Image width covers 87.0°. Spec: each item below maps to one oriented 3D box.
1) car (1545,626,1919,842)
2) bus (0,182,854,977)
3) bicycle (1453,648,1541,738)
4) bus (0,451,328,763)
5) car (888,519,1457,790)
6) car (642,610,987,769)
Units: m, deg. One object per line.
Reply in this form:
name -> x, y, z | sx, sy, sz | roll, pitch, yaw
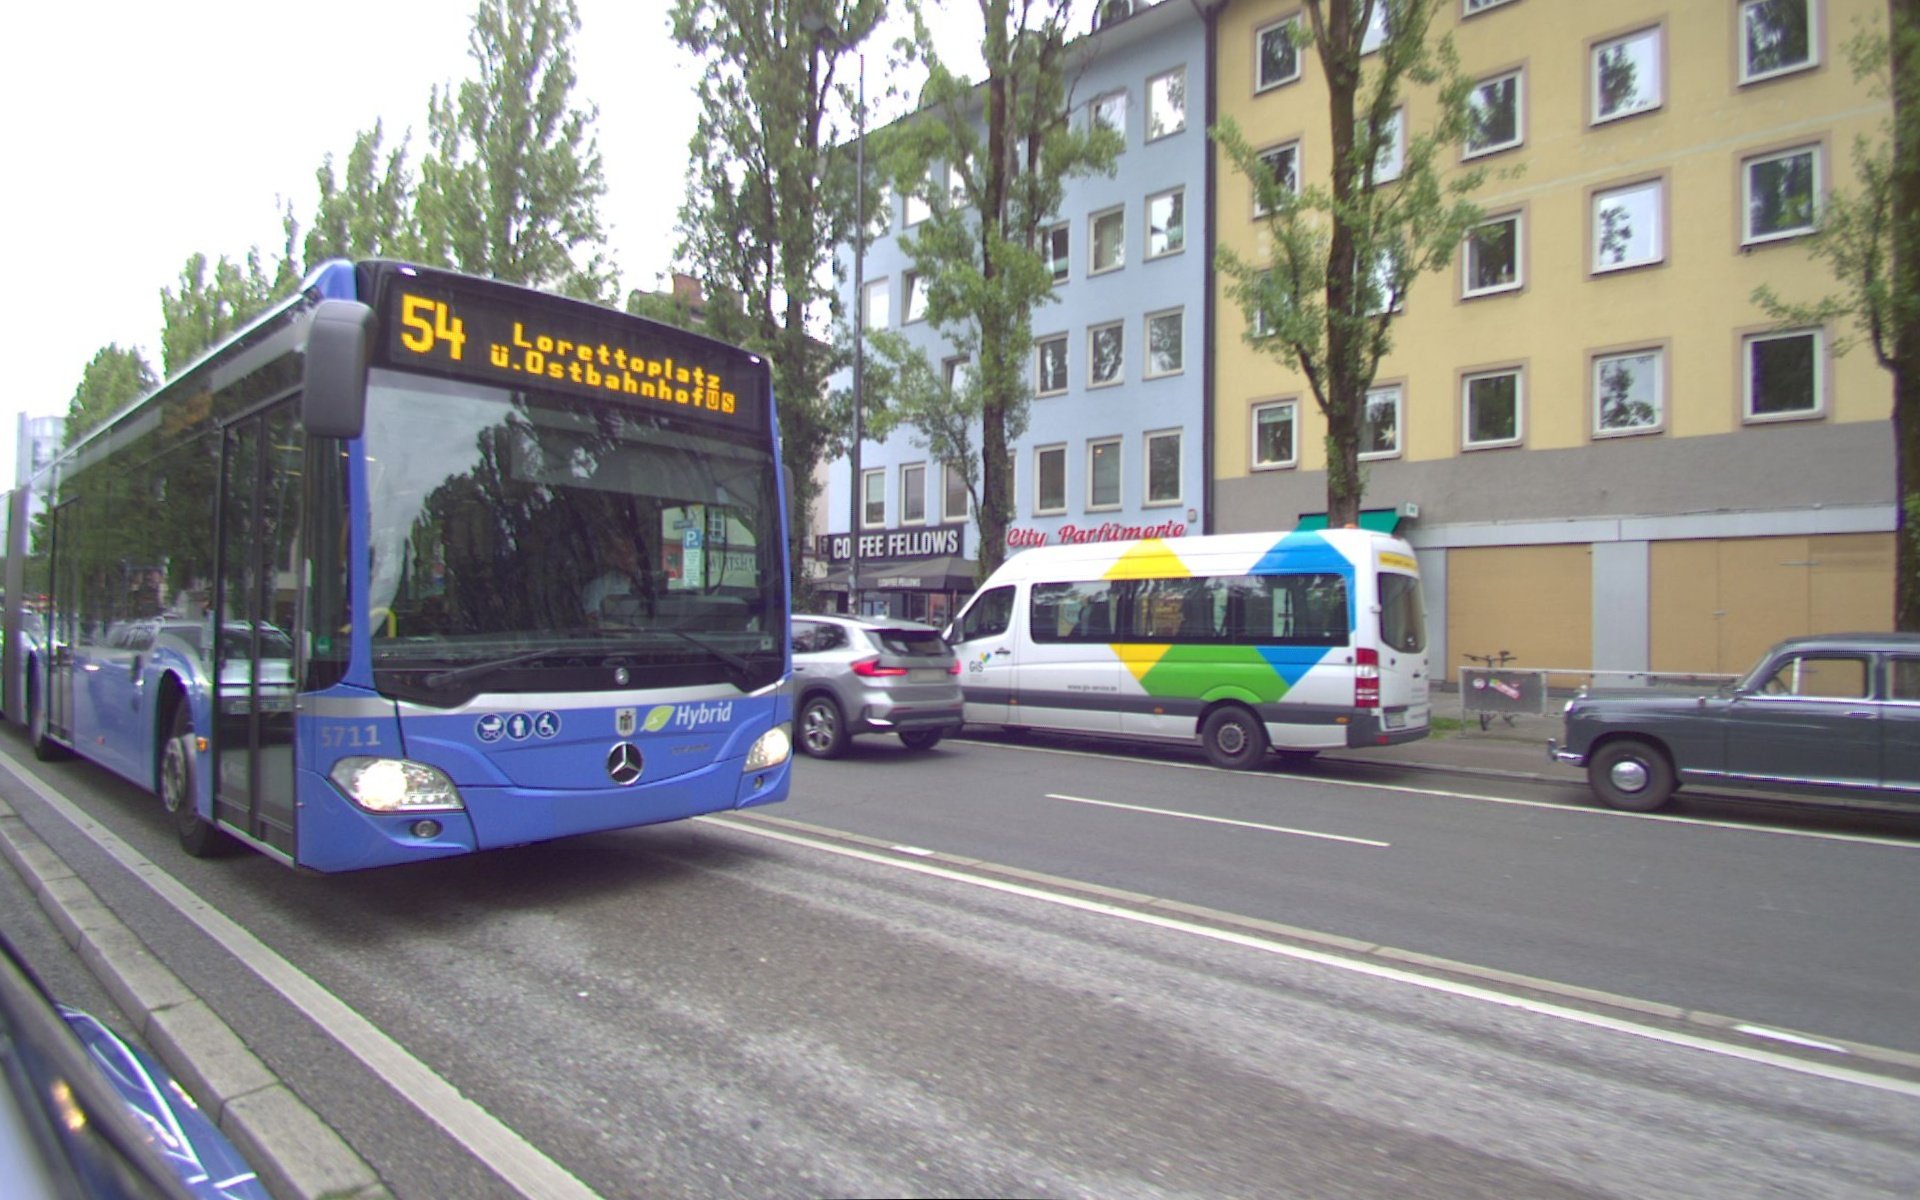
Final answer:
car -> 7.427, 1.019, 8.180 | 4.412, 1.564, 1.847 | -1, -4, 41
bus -> -5.259, 0.011, 8.097 | 10.047, 2.972, 2.661 | -1, -2, 41
bicycle -> 7.699, 1.291, 14.475 | 0.622, 1.103, 1.848 | -1, 0, 44
bus -> -11.958, 0.164, 13.959 | 10.047, 2.972, 2.655 | -1, -2, 41
car -> 2.248, 0.616, 12.705 | 6.909, 2.587, 1.984 | -1, -4, 41
car -> -1.941, 0.994, 12.611 | 4.452, 1.647, 1.752 | -1, -3, 40
